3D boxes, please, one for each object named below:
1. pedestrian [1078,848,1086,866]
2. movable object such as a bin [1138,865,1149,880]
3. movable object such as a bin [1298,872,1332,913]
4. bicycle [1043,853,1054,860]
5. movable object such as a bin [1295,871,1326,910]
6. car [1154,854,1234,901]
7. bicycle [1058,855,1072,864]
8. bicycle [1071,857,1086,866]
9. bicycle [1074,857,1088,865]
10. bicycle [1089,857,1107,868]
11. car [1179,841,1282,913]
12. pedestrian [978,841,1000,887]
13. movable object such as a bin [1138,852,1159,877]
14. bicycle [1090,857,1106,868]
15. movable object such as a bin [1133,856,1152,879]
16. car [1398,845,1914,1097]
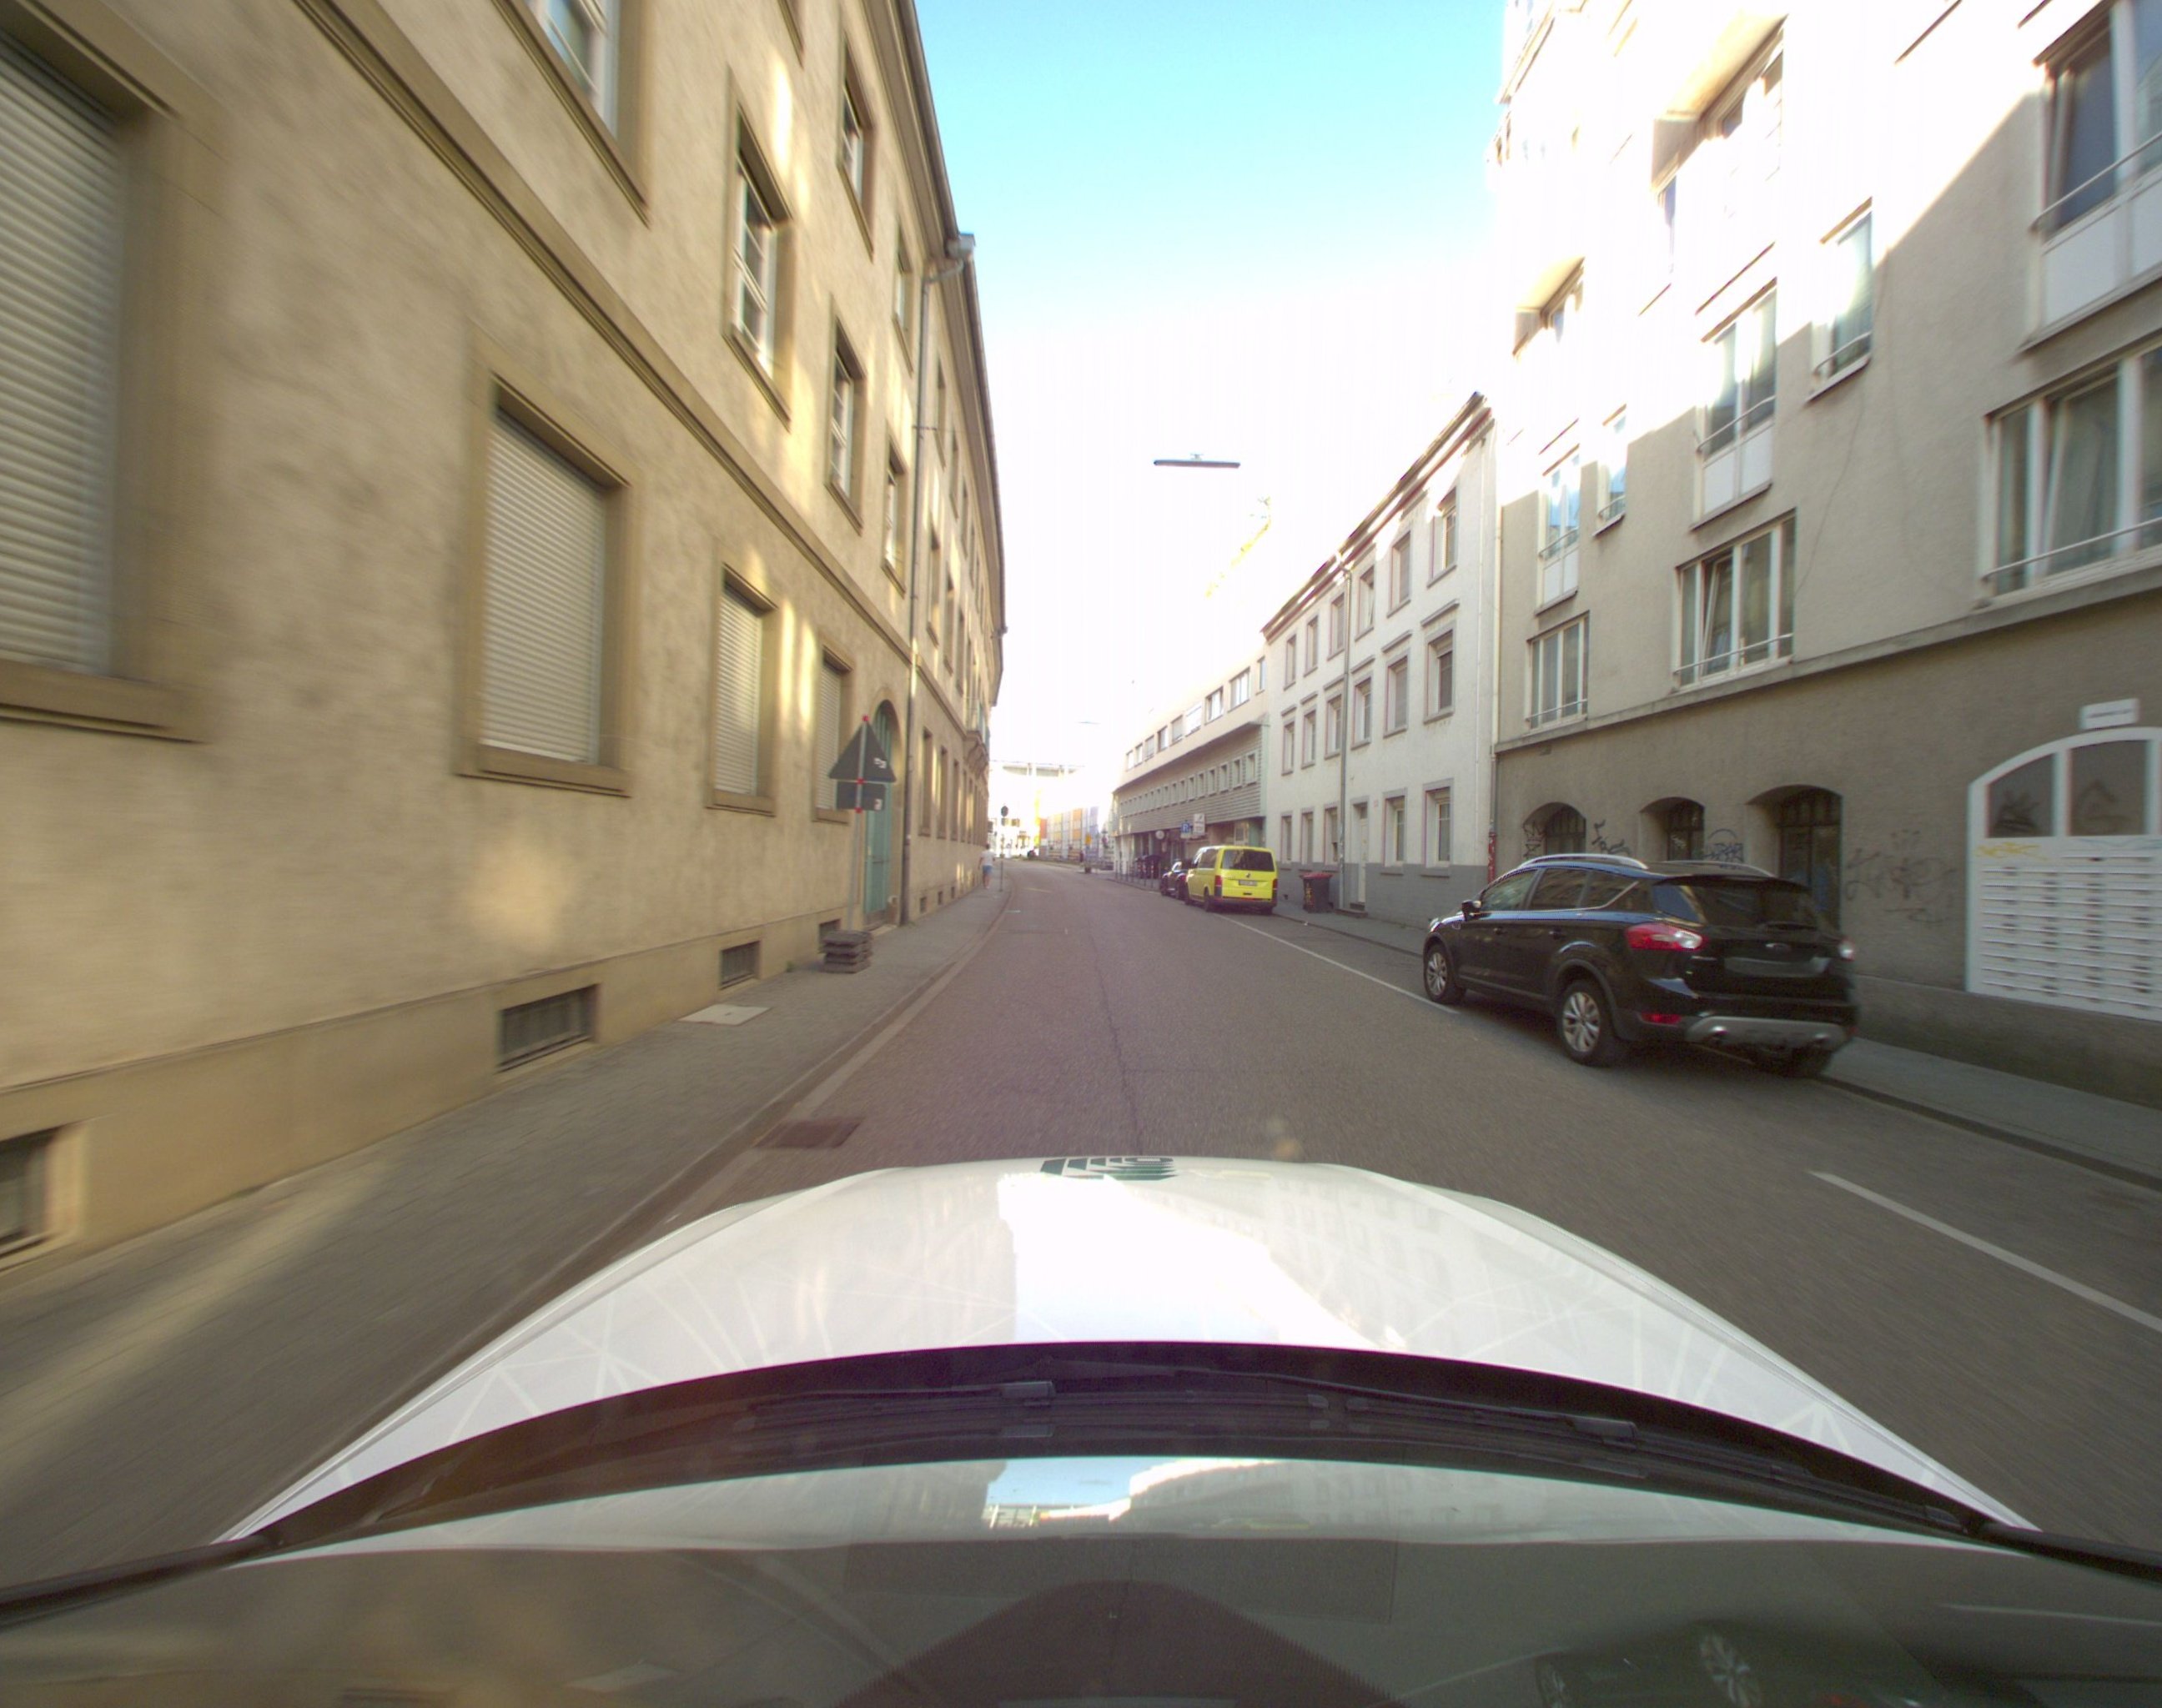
[{"bbox_3d":[0.112,0.309,84.004,0.696,1.760,1.185,-1,0,-8],"label":"pedestrian"},{"bbox_3d":[3.935,1.169,51.272,0.556,0.899,0.522,0,-2,-7],"label":"movable object such as a bin"},{"bbox_3d":[6.464,1.057,22.556,0.626,1.051,0.706,-3,0,-8],"label":"movable object such as a bin"},{"bbox_3d":[-5.124,0.426,128.674,1.756,1.004,0.610,0,-1,-14],"label":"bicycle"},{"bbox_3d":[6.584,1.044,23.363,0.605,1.051,0.707,-3,0,-5],"label":"movable object such as a bin"},{"bbox_3d":[4.039,0.800,29.764,1.881,1.489,4.359,3,0,-6],"label":"car"},{"bbox_3d":[-2.229,0.798,114.822,1.810,1.137,0.550,2,-1,-11],"label":"bicycle"},{"bbox_3d":[-0.285,0.907,98.235,1.748,0.946,0.550,1,-1,-9],"label":"bicycle"},{"bbox_3d":[-0.029,0.852,100.145,1.747,0.946,0.325,1,-1,-8],"label":"bicycle"},{"bbox_3d":[1.761,0.868,84.494,1.748,1.141,0.550,-1,1,-9],"label":"bicycle"},{"bbox_3d":[4.353,0.625,24.475,1.879,1.882,4.839,3,0,-4],"label":"car"},{"bbox_3d":[-3.546,0.380,31.295,0.691,1.670,0.873,4,-1,-4],"label":"pedestrian"},{"bbox_3d":[4.058,0.629,48.747,0.980,1.480,1.548,0,-2,-6],"label":"movable object such as a bin"},{"bbox_3d":[1.796,0.861,85.925,1.645,1.141,0.282,-1,1,-17],"label":"bicycle"},{"bbox_3d":[3.786,0.865,50.217,0.980,1.385,1.317,0,-2,-6],"label":"movable object such as a bin"},{"bbox_3d":[4.854,0.809,7.878,1.819,1.654,4.494,3,0,1],"label":"car"}]
